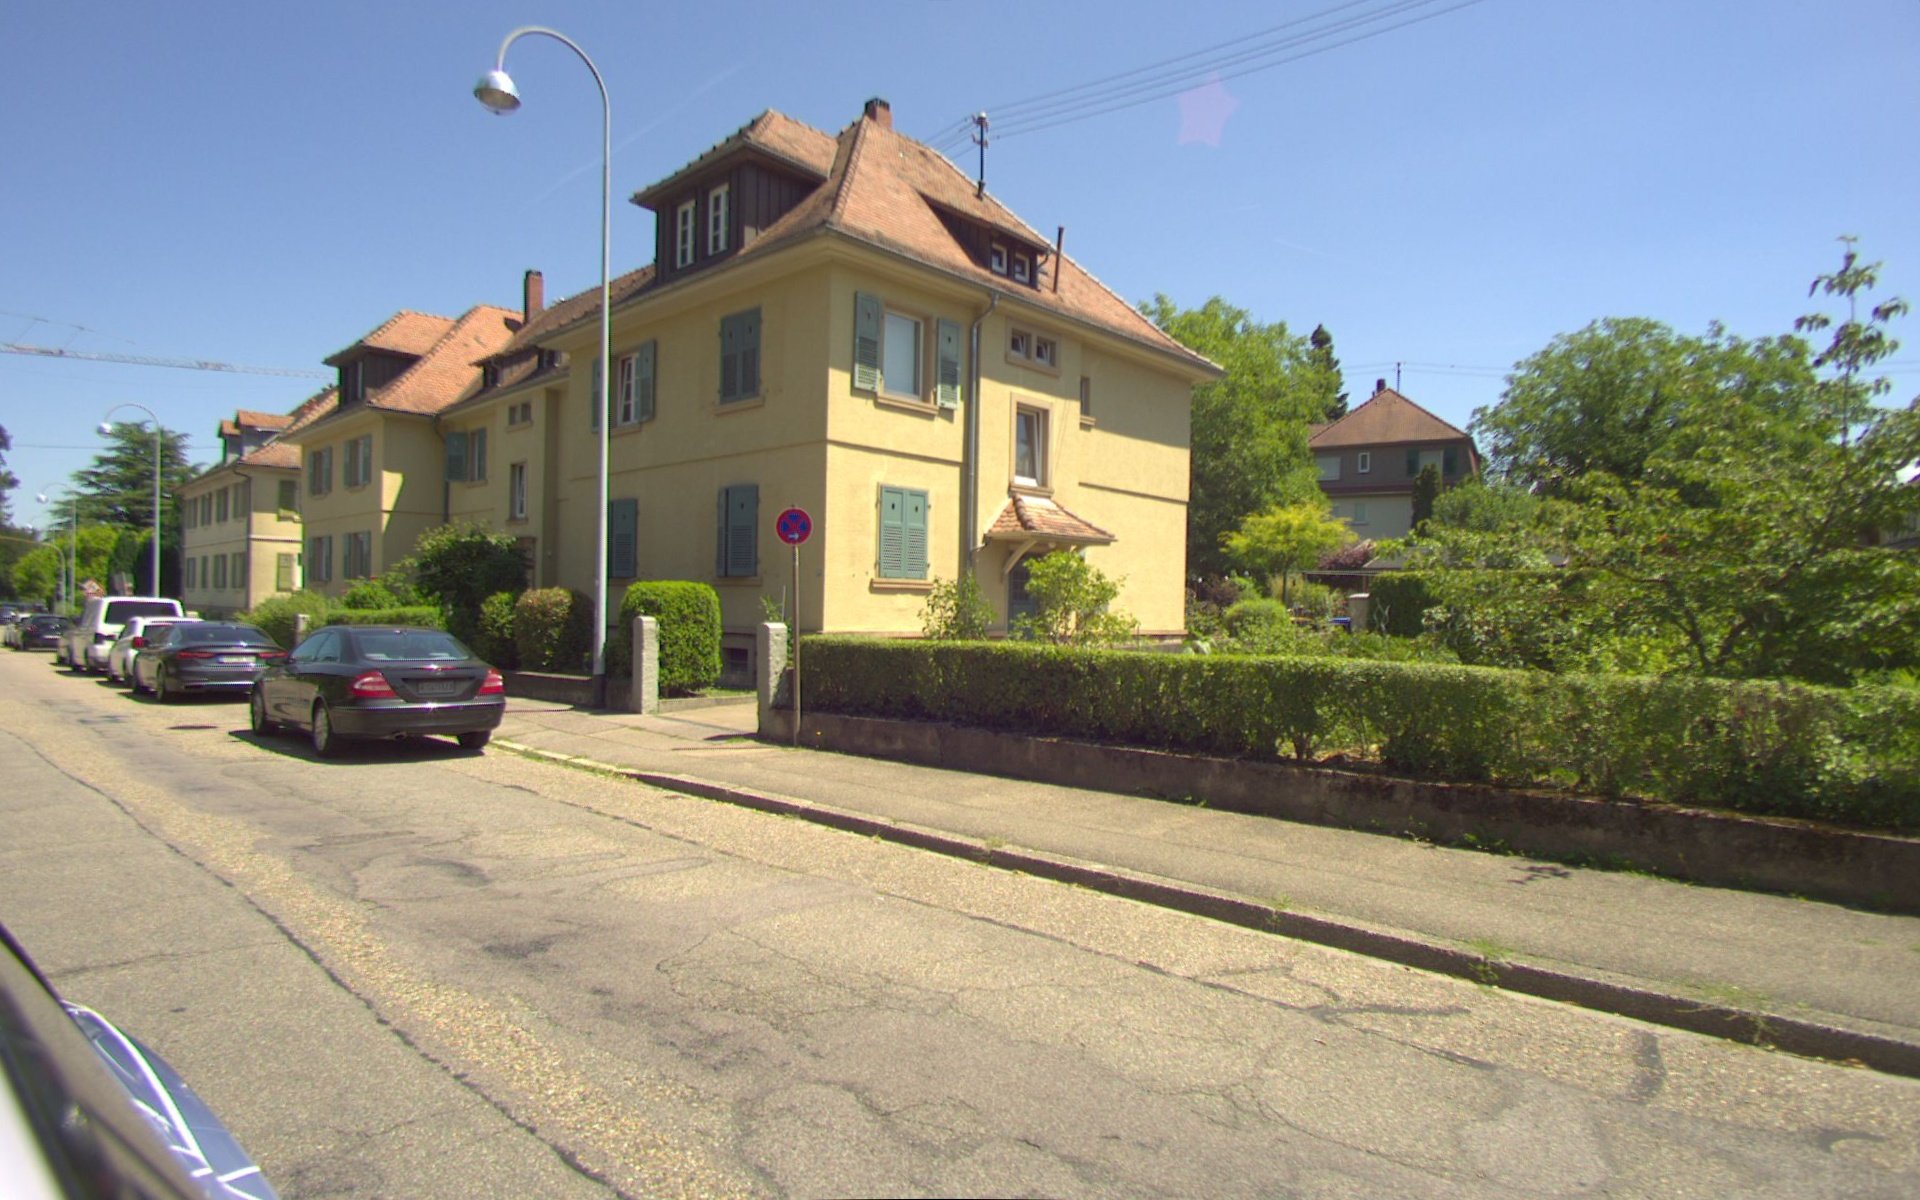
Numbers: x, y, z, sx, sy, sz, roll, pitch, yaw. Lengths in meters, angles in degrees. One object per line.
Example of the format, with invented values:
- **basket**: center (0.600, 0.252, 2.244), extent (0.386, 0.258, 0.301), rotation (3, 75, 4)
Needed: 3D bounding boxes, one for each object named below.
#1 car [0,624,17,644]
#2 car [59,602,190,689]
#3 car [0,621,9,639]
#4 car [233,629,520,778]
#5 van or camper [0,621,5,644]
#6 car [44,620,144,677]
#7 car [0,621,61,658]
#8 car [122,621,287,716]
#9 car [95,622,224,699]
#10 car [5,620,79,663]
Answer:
- **car**: center (-73.824, 2.577, 77.953), extent (1.661, 1.423, 3.930), rotation (4, -3, -43)
- **car**: center (-21.041, 1.119, 25.415), extent (4.626, 1.978, 1.857), rotation (-1, -4, 43)
- **car**: center (-81.395, 2.513, 85.148), extent (1.660, 1.452, 4.254), rotation (4, -3, -40)
- **car**: center (-6.946, 1.081, 11.842), extent (4.380, 1.396, 1.647), rotation (-1, -4, 43)
- **van or camper**: center (-77.711, 2.554, 80.974), extent (1.660, 1.818, 3.990), rotation (4, -3, -42)
- **car**: center (-25.756, 1.426, 30.067), extent (4.061, 1.537, 1.668), rotation (-1, -4, 42)
- **car**: center (-39.874, 1.669, 43.202), extent (4.219, 1.413, 1.775), rotation (0, -3, 43)
- **car**: center (-13.763, 1.145, 18.334), extent (4.466, 1.504, 1.647), rotation (-1, -2, 44)
- **car**: center (-17.198, 1.234, 21.695), extent (3.478, 1.504, 1.647), rotation (-1, -3, 43)
- **car**: center (-35.800, 1.606, 39.428), extent (4.076, 1.496, 1.697), rotation (0, -3, 42)
